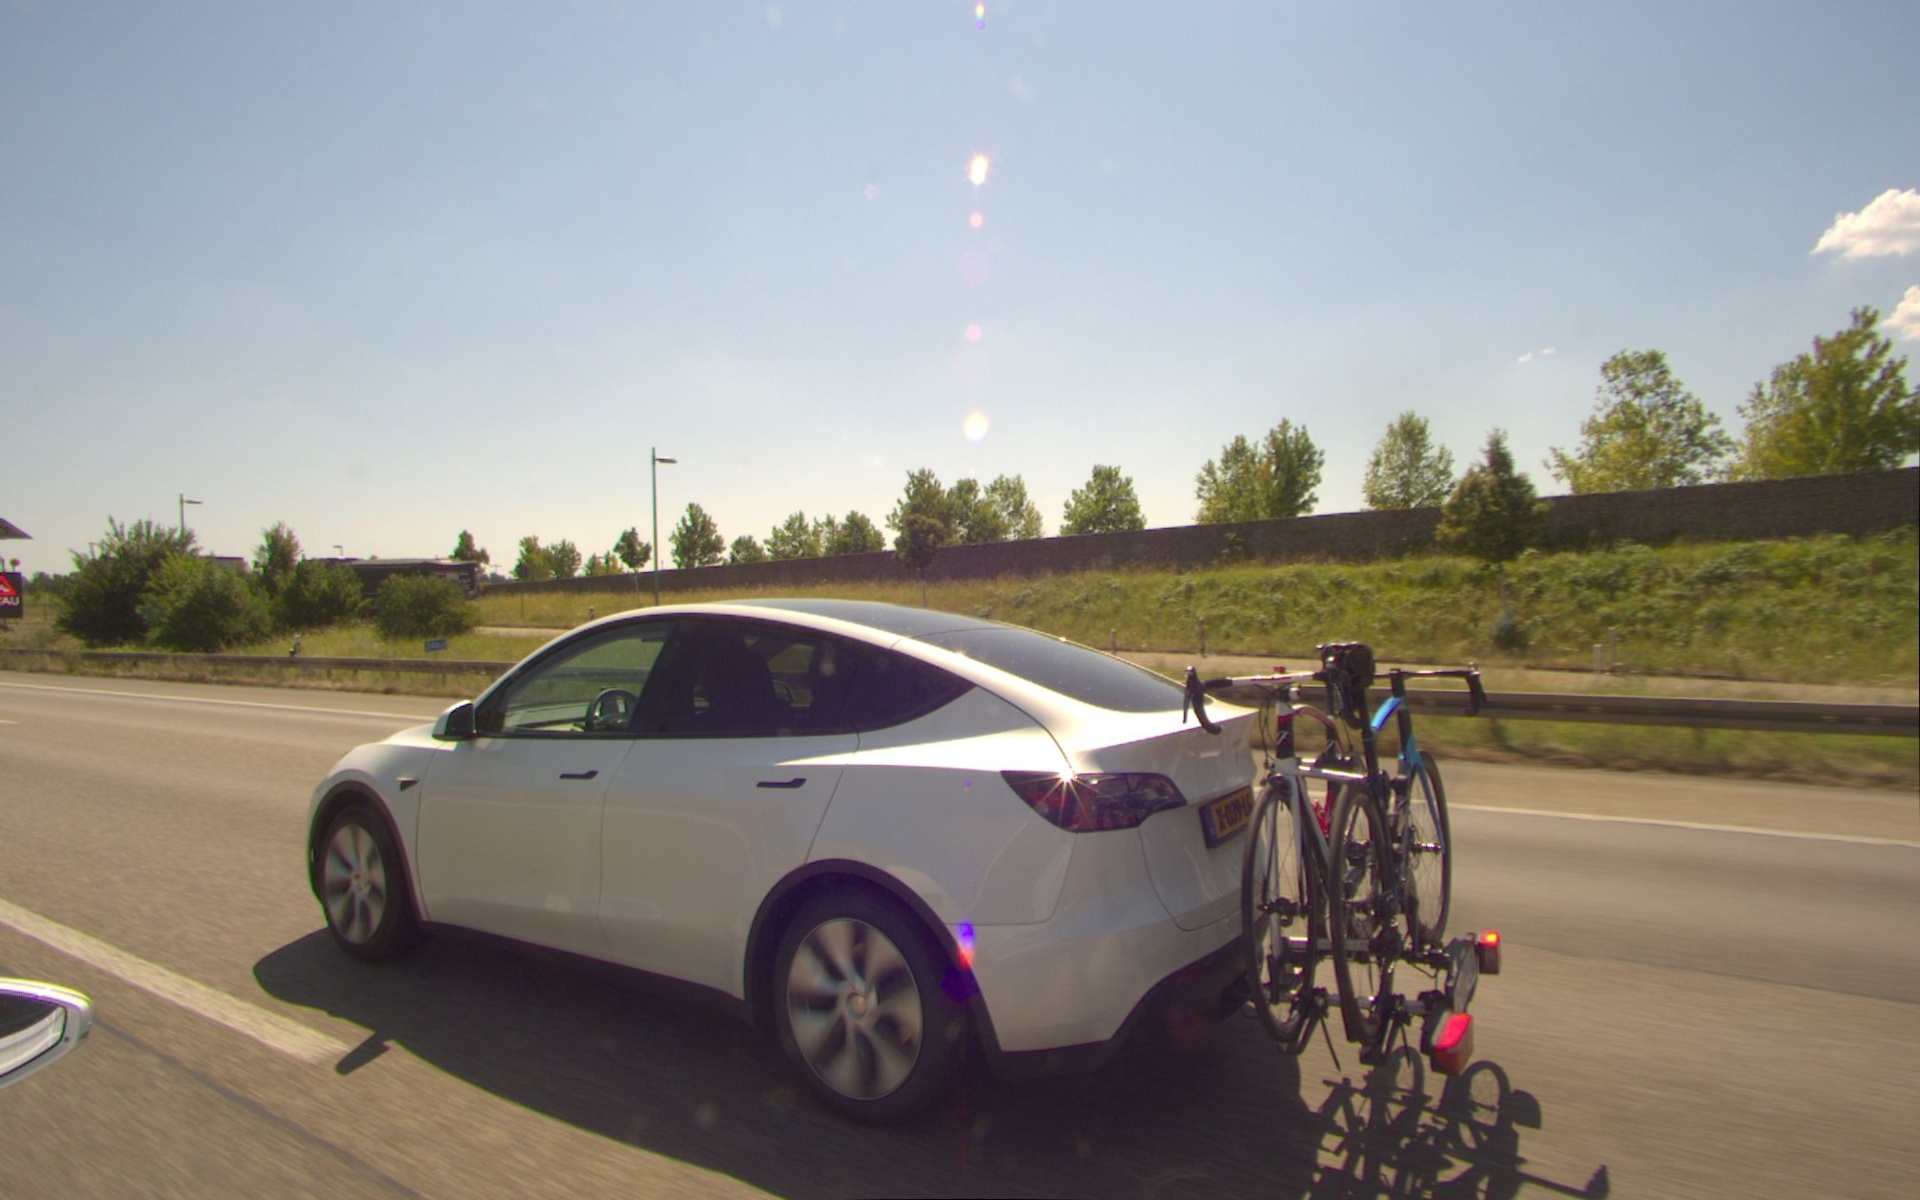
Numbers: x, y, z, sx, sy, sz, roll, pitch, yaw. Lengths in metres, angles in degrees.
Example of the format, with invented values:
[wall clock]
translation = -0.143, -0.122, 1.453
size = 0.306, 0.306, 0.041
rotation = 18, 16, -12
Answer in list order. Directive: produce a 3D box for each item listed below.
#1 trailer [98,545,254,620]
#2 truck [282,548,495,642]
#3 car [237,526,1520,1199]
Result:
[trailer]
translation = -49.204, -0.907, 62.619
size = 14.053, 4.135, 3.048
rotation = -1, -2, 32
[truck]
translation = -28.086, -0.023, 48.885
size = 12.343, 4.135, 3.781
rotation = -1, -2, 33
[car]
translation = -0.768, 0.763, 4.365
size = 5.521, 1.657, 1.947
rotation = -1, -2, 32
